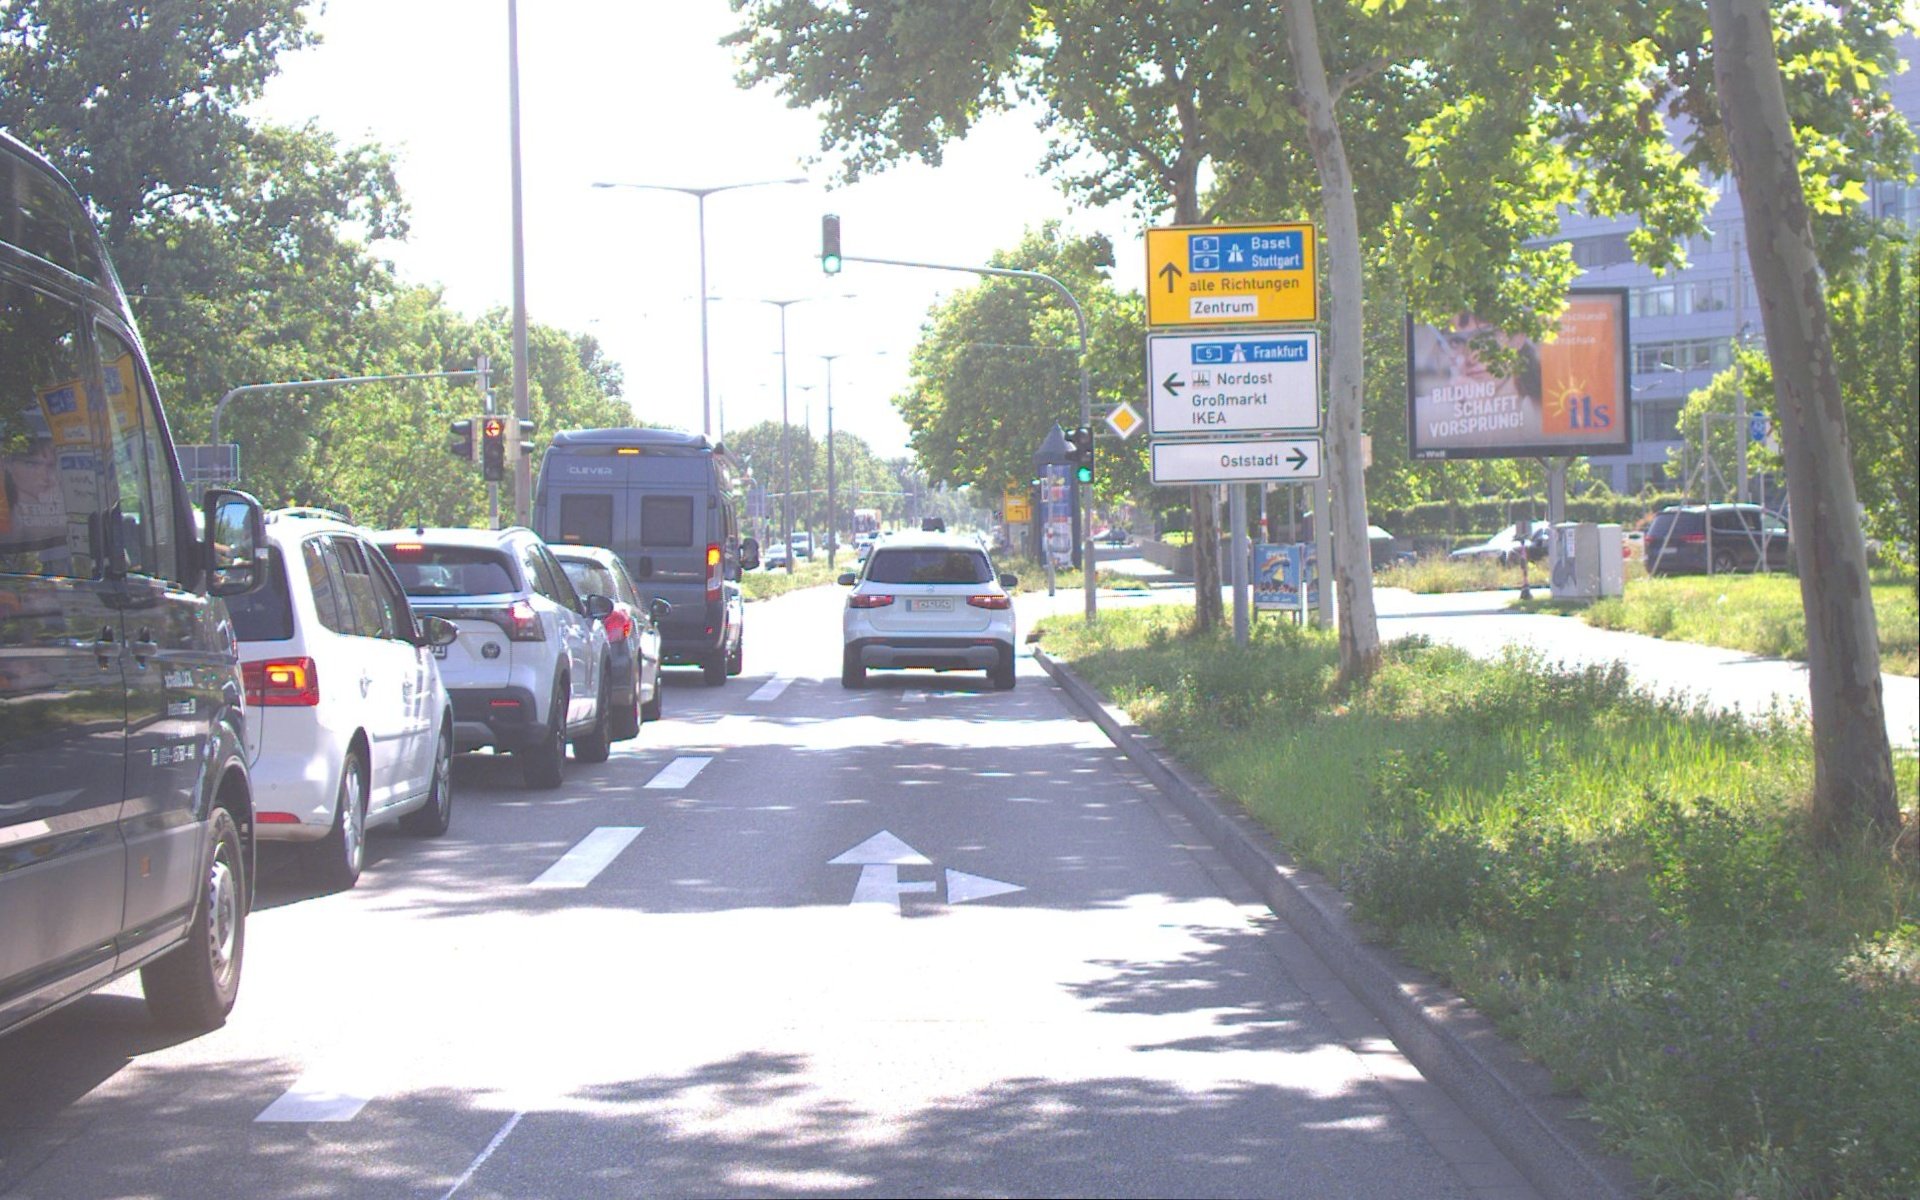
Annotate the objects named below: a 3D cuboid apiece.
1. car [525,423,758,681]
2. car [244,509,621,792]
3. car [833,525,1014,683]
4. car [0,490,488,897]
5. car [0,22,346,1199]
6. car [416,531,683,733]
[{"bbox_3d":[-3.434,-0.518,37.948,2.081,2.647,4.874,1,1,0],"label":"car"},{"bbox_3d":[-3.260,0.270,21.978,1.771,1.641,4.084,0,1,0],"label":"car"},{"bbox_3d":[-0.348,-0.004,37.433,1.853,1.601,4.000,0,1,1],"label":"car"},{"bbox_3d":[-3.398,0.355,16.067,1.771,1.641,4.352,0,1,0],"label":"car"},{"bbox_3d":[-3.094,0.030,8.563,2.016,2.598,6.168,0,1,0],"label":"car"},{"bbox_3d":[-3.254,0.210,27.884,1.691,1.499,3.886,1,1,0],"label":"car"}]
